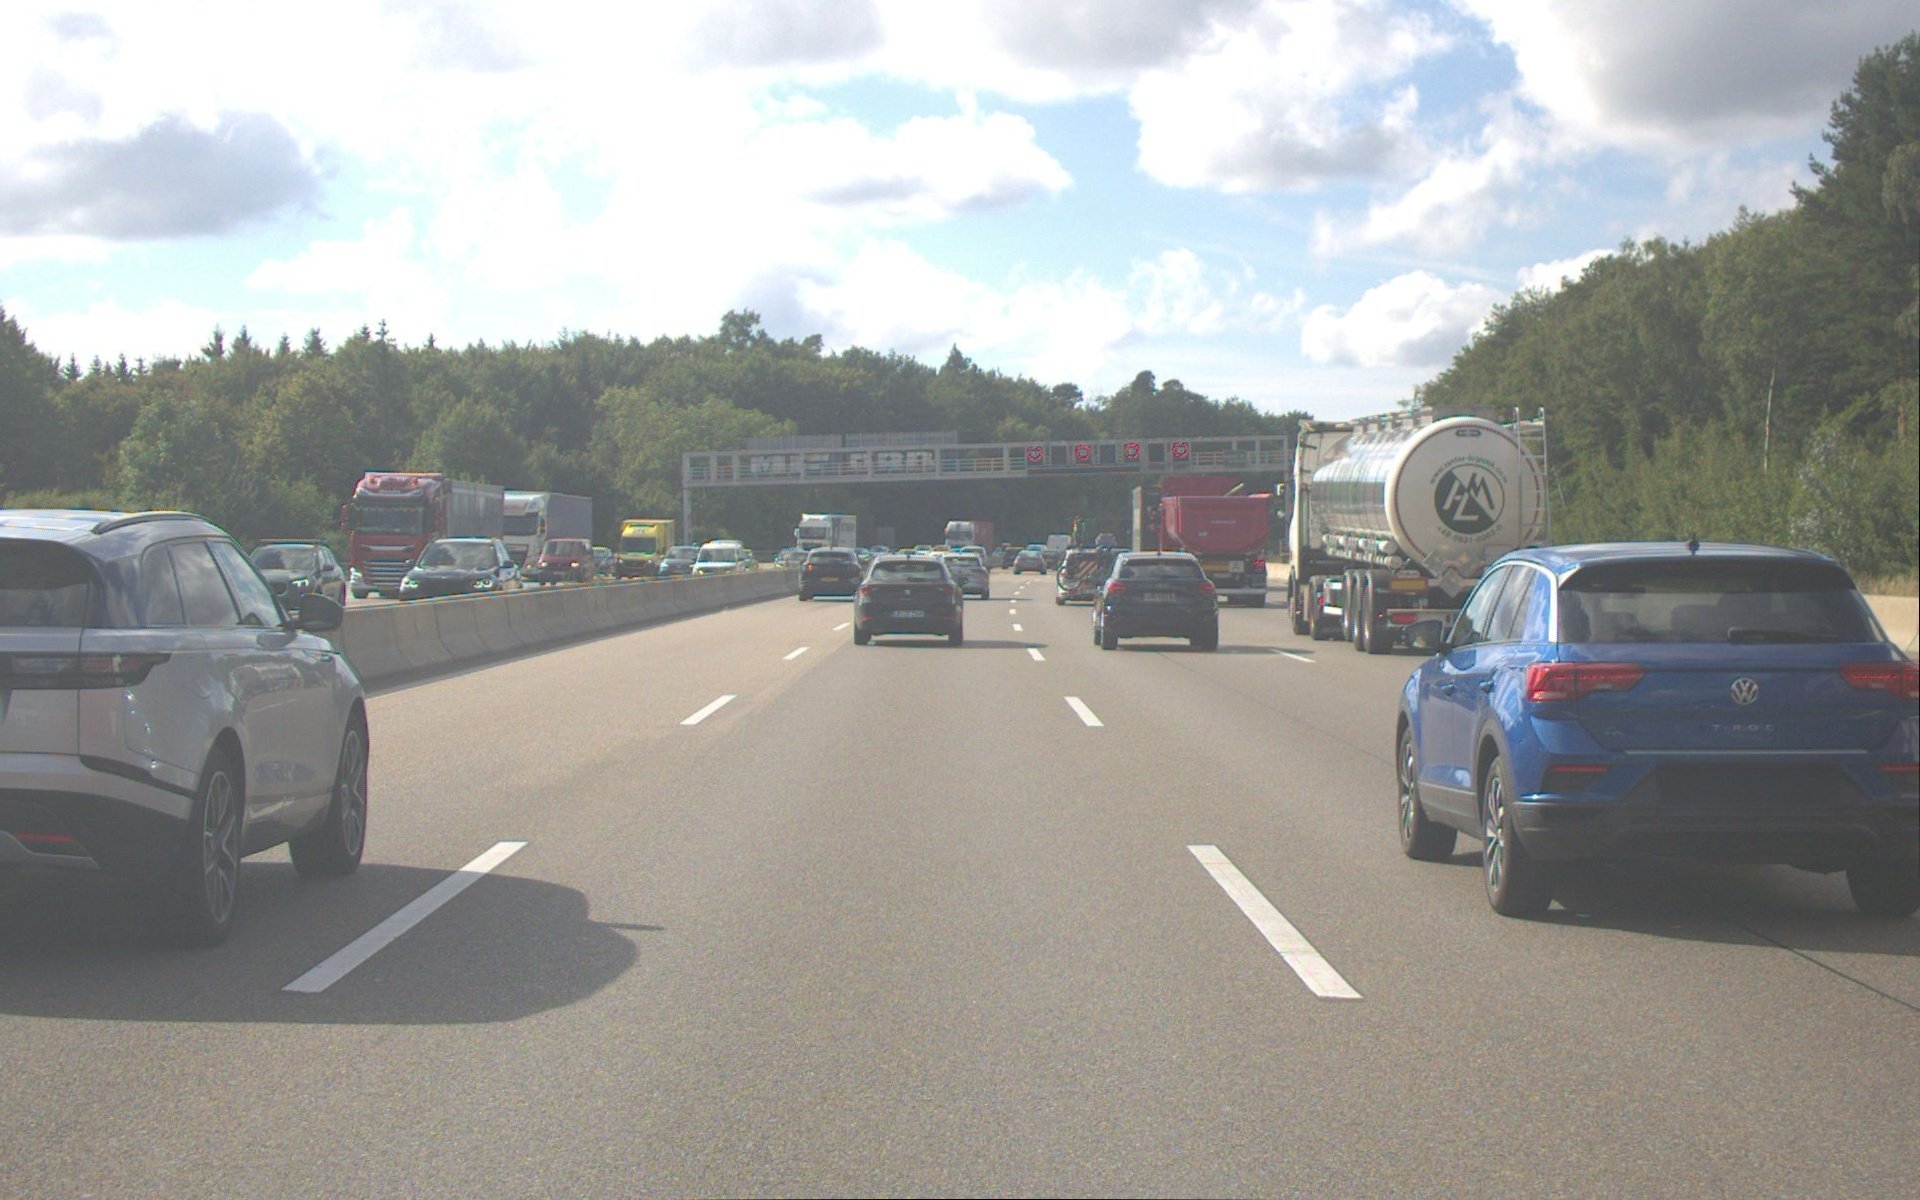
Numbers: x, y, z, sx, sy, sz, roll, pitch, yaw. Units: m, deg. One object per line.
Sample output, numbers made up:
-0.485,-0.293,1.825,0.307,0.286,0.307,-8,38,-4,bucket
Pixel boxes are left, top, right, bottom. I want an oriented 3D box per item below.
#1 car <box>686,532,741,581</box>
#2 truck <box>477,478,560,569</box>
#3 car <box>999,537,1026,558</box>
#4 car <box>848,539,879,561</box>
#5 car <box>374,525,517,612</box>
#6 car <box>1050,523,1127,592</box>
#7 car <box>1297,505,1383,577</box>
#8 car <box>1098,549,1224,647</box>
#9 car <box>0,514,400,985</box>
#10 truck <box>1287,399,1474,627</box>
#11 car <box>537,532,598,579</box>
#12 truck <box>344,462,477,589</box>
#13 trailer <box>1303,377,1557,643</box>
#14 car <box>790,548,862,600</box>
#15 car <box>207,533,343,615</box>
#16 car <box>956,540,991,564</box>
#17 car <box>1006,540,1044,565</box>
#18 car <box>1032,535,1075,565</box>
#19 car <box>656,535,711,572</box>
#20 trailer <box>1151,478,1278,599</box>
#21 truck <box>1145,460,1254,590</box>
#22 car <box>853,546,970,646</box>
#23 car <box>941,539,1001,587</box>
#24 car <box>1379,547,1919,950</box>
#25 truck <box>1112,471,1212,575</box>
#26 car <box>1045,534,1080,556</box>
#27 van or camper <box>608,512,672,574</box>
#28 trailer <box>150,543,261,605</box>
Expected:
-9.614,-1.717,134.329,1.849,1.872,4.616,-1,1,-1,car
-20.197,-3.469,157.521,2.819,4.080,6.061,0,1,2,truck
3.797,-3.797,247.162,1.929,1.452,4.392,-1,1,1,car
-6.462,-3.362,230.320,1.929,1.452,4.251,0,1,0,car
-10.415,-0.659,70.022,2.154,1.694,5.351,0,1,-1,car
3.570,-1.190,95.923,1.893,1.850,4.101,1,1,-1,car
10.577,-1.638,95.984,1.893,1.950,4.100,1,1,0,car
3.101,-0.059,53.631,1.822,1.452,4.000,0,1,1,car
-3.746,0.457,14.413,2.006,1.611,5.301,1,1,-1,car
7.350,-1.517,60.772,2.649,3.810,6.082,0,1,1,truck
-16.229,-1.848,142.381,1.847,1.934,5.033,0,1,1,car
-17.170,-2.316,107.856,2.967,3.845,6.765,0,1,1,truck
7.260,-1.384,54.744,2.649,3.754,11.860,0,1,1,trailer
-3.981,-0.786,102.671,1.942,1.452,4.000,-1,1,1,car
-14.294,-0.576,71.987,1.994,1.658,4.687,0,1,-1,car
0.851,-3.059,216.554,2.077,1.452,4.000,-1,1,2,car
3.960,-2.883,208.770,2.077,1.452,4.000,-1,1,-2,car
4.671,-2.516,172.247,1.942,1.452,4.000,-1,1,-2,car
-12.402,-2.119,154.611,1.844,1.590,4.913,-1,1,2,car
7.096,-1.787,97.082,2.710,3.220,9.733,1,2,-1,trailer
7.041,-2.230,101.798,2.710,3.706,5.818,1,2,-1,truck
-0.764,-0.096,55.635,1.822,1.541,4.000,0,1,0,car
0.356,-1.159,106.855,1.822,1.452,4.000,0,1,1,car
3.040,0.534,15.386,1.773,1.525,4.458,0,1,0,car
7.942,-2.980,136.239,3.118,3.921,10.411,1,0,-1,truck
6.849,-3.689,230.494,2.077,1.452,4.000,-1,1,-2,car
-15.570,-2.787,167.528,2.374,2.882,6.506,-1,1,1,van or camper
-17.387,-0.616,79.348,1.534,1.397,4.180,0,1,2,trailer
